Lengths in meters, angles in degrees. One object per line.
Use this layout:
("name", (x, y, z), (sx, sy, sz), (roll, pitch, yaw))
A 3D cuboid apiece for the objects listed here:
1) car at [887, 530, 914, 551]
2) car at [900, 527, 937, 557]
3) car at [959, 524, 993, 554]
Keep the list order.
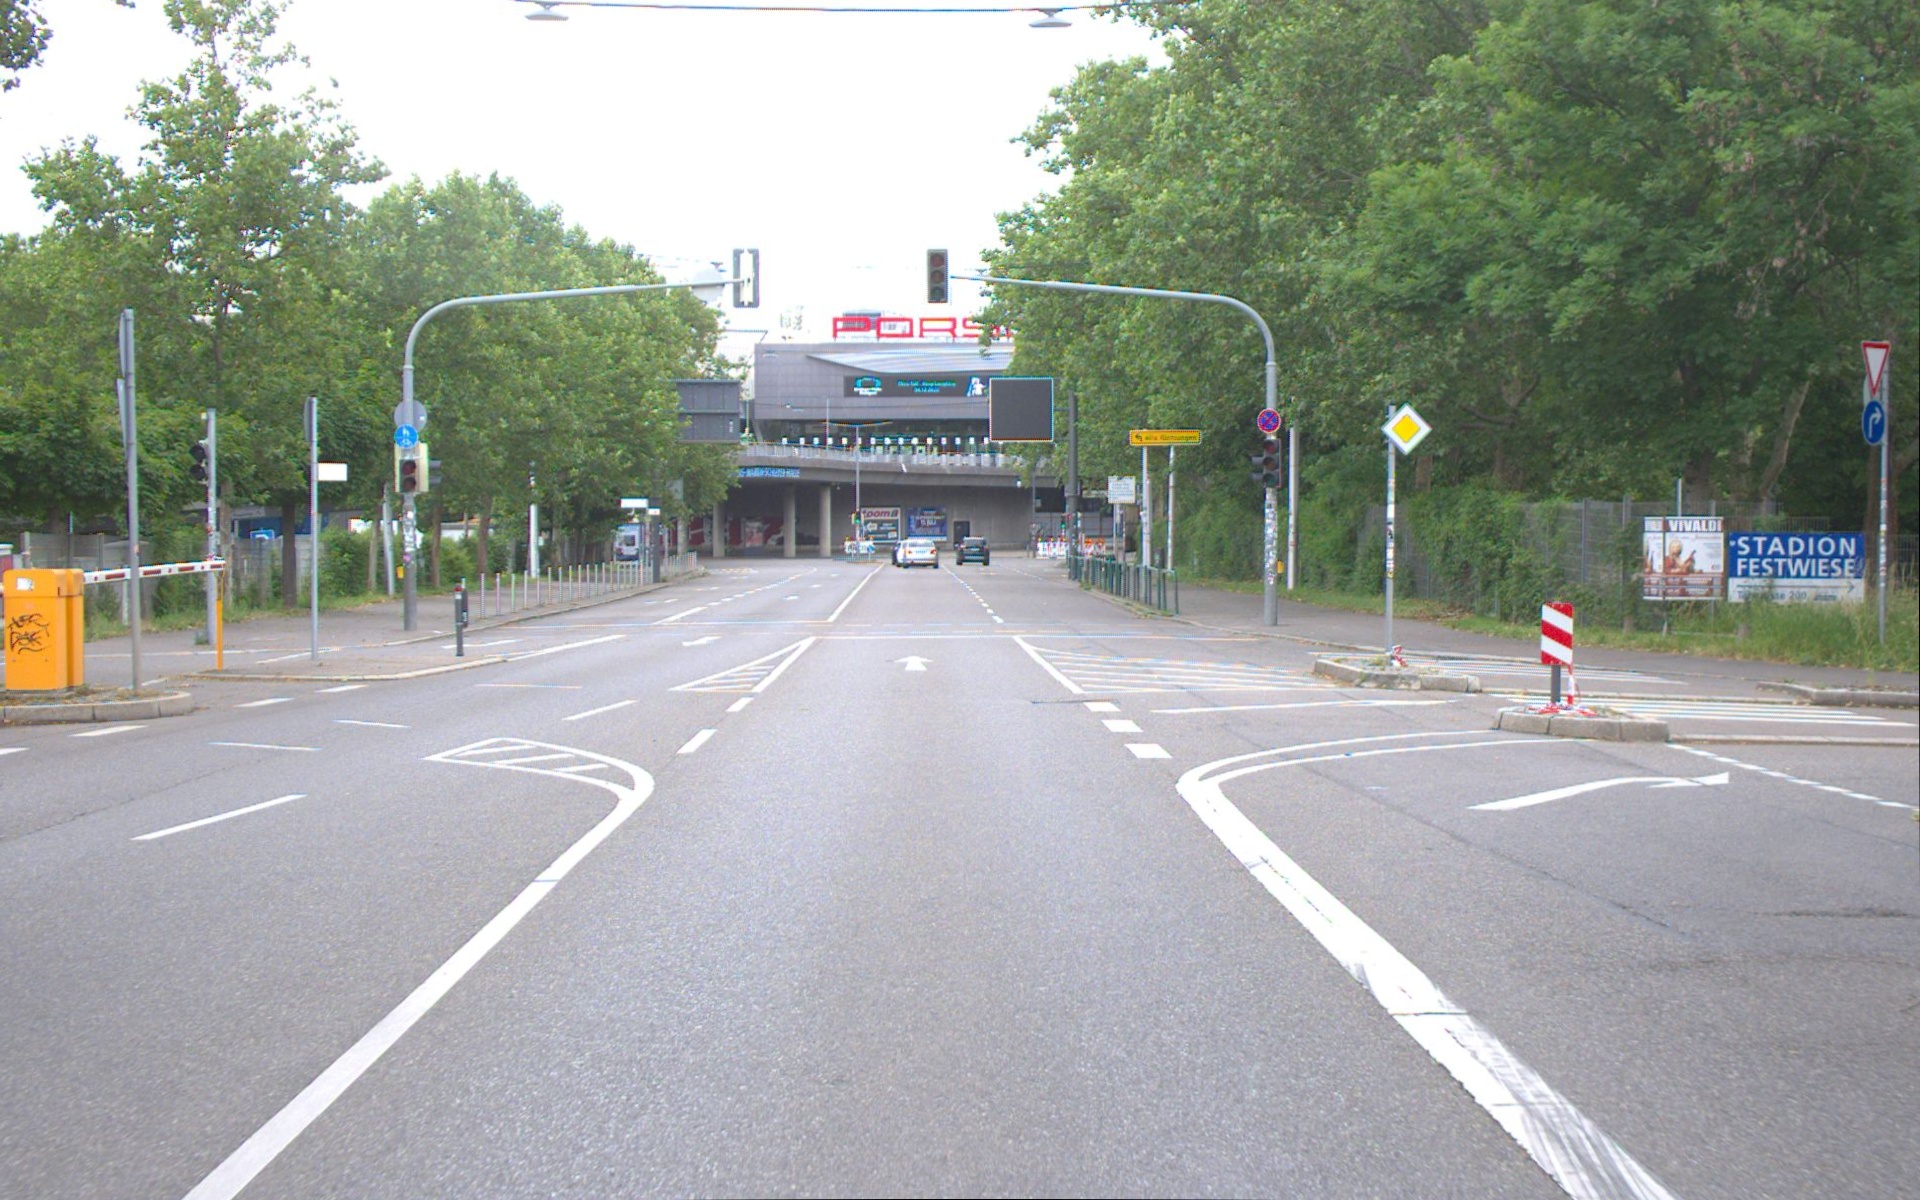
("car", (-3.223, -3.254, 187.285), (1.411, 1.109, 3.038), (1, 1, 0))
("car", (-2.140, -3.022, 178.175), (1.778, 1.455, 3.822), (2, 1, 0))
("car", (0.950, -3.618, 202.948), (2.007, 1.693, 4.069), (1, 1, 1))
